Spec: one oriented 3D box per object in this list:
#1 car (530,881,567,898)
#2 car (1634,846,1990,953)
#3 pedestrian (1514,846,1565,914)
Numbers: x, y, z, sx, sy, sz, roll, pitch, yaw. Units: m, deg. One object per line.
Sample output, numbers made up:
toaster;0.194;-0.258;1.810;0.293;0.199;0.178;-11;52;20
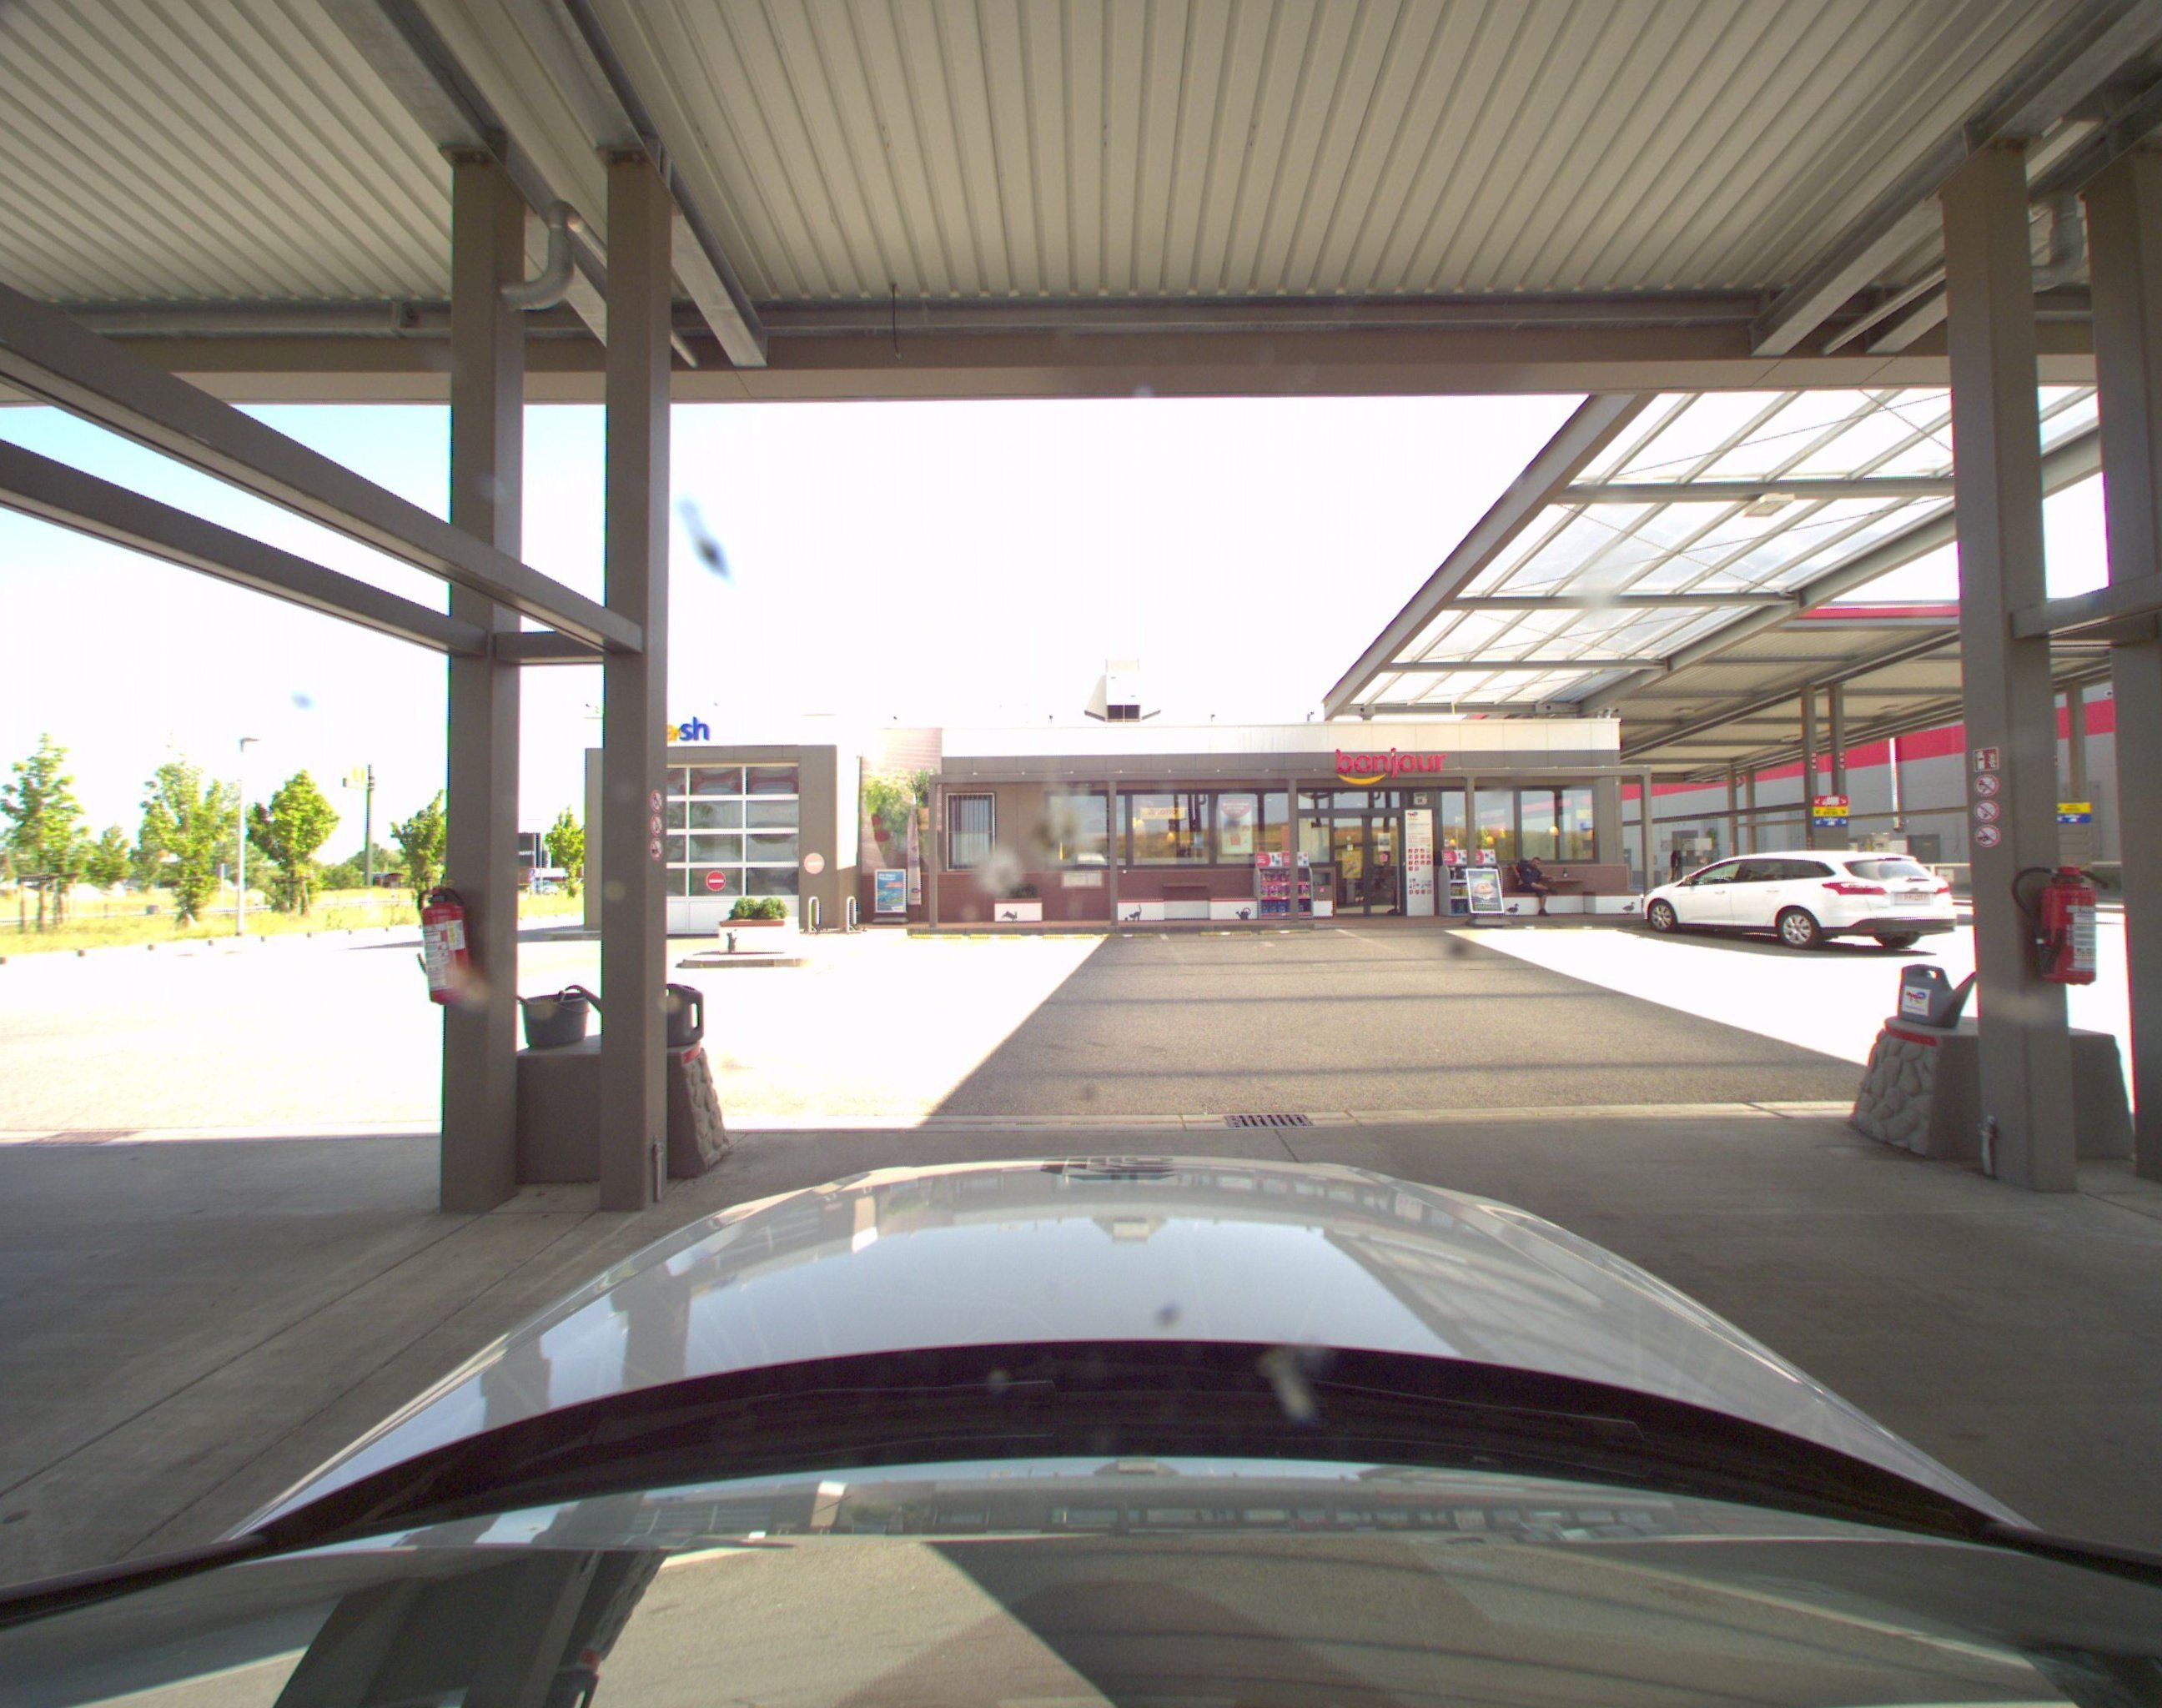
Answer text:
car;-54.298;3.619;83.147;1.798;1.596;3.984;-1;-1;-11
car;11.682;0.654;13.515;1.827;1.457;4.313;-1;-1;-5
pedestrian;9.934;0.565;17.663;0.699;1.432;0.672;-1;-1;-1
